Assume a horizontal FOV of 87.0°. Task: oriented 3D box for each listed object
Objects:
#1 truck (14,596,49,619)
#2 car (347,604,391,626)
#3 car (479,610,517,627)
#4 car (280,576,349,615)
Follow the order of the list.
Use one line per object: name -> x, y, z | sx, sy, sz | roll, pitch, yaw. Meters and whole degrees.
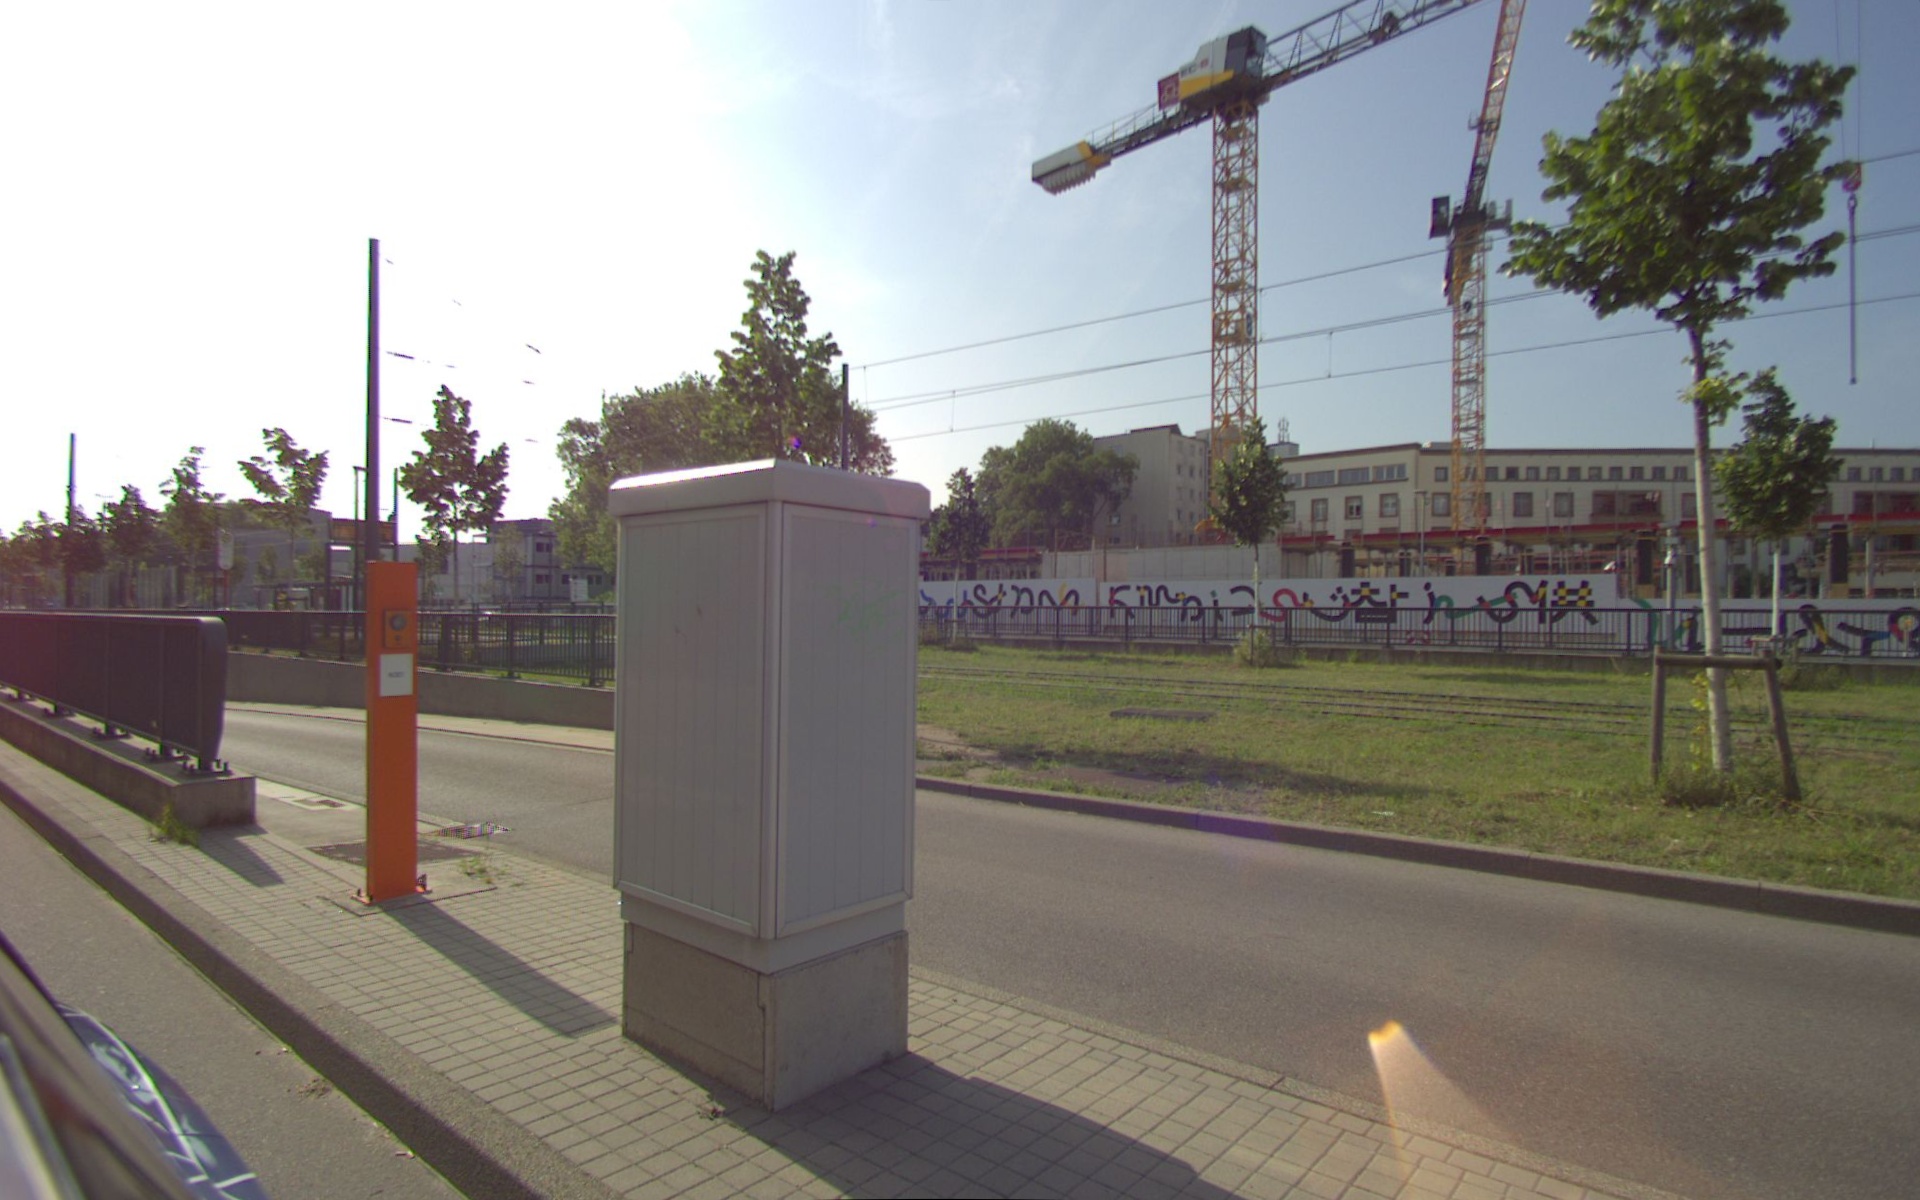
truck -> -146.417, 1.223, 159.557 | 8.886, 3.614, 2.990 | -1, -1, 41
car -> -45.194, 1.146, 77.383 | 4.149, 1.675, 1.702 | 0, -1, 41
car -> -34.658, 1.386, 75.955 | 2.958, 1.211, 1.485 | 0, 0, 40
car -> -61.543, -0.374, 96.410 | 9.227, 3.539, 3.023 | -1, -1, 41
